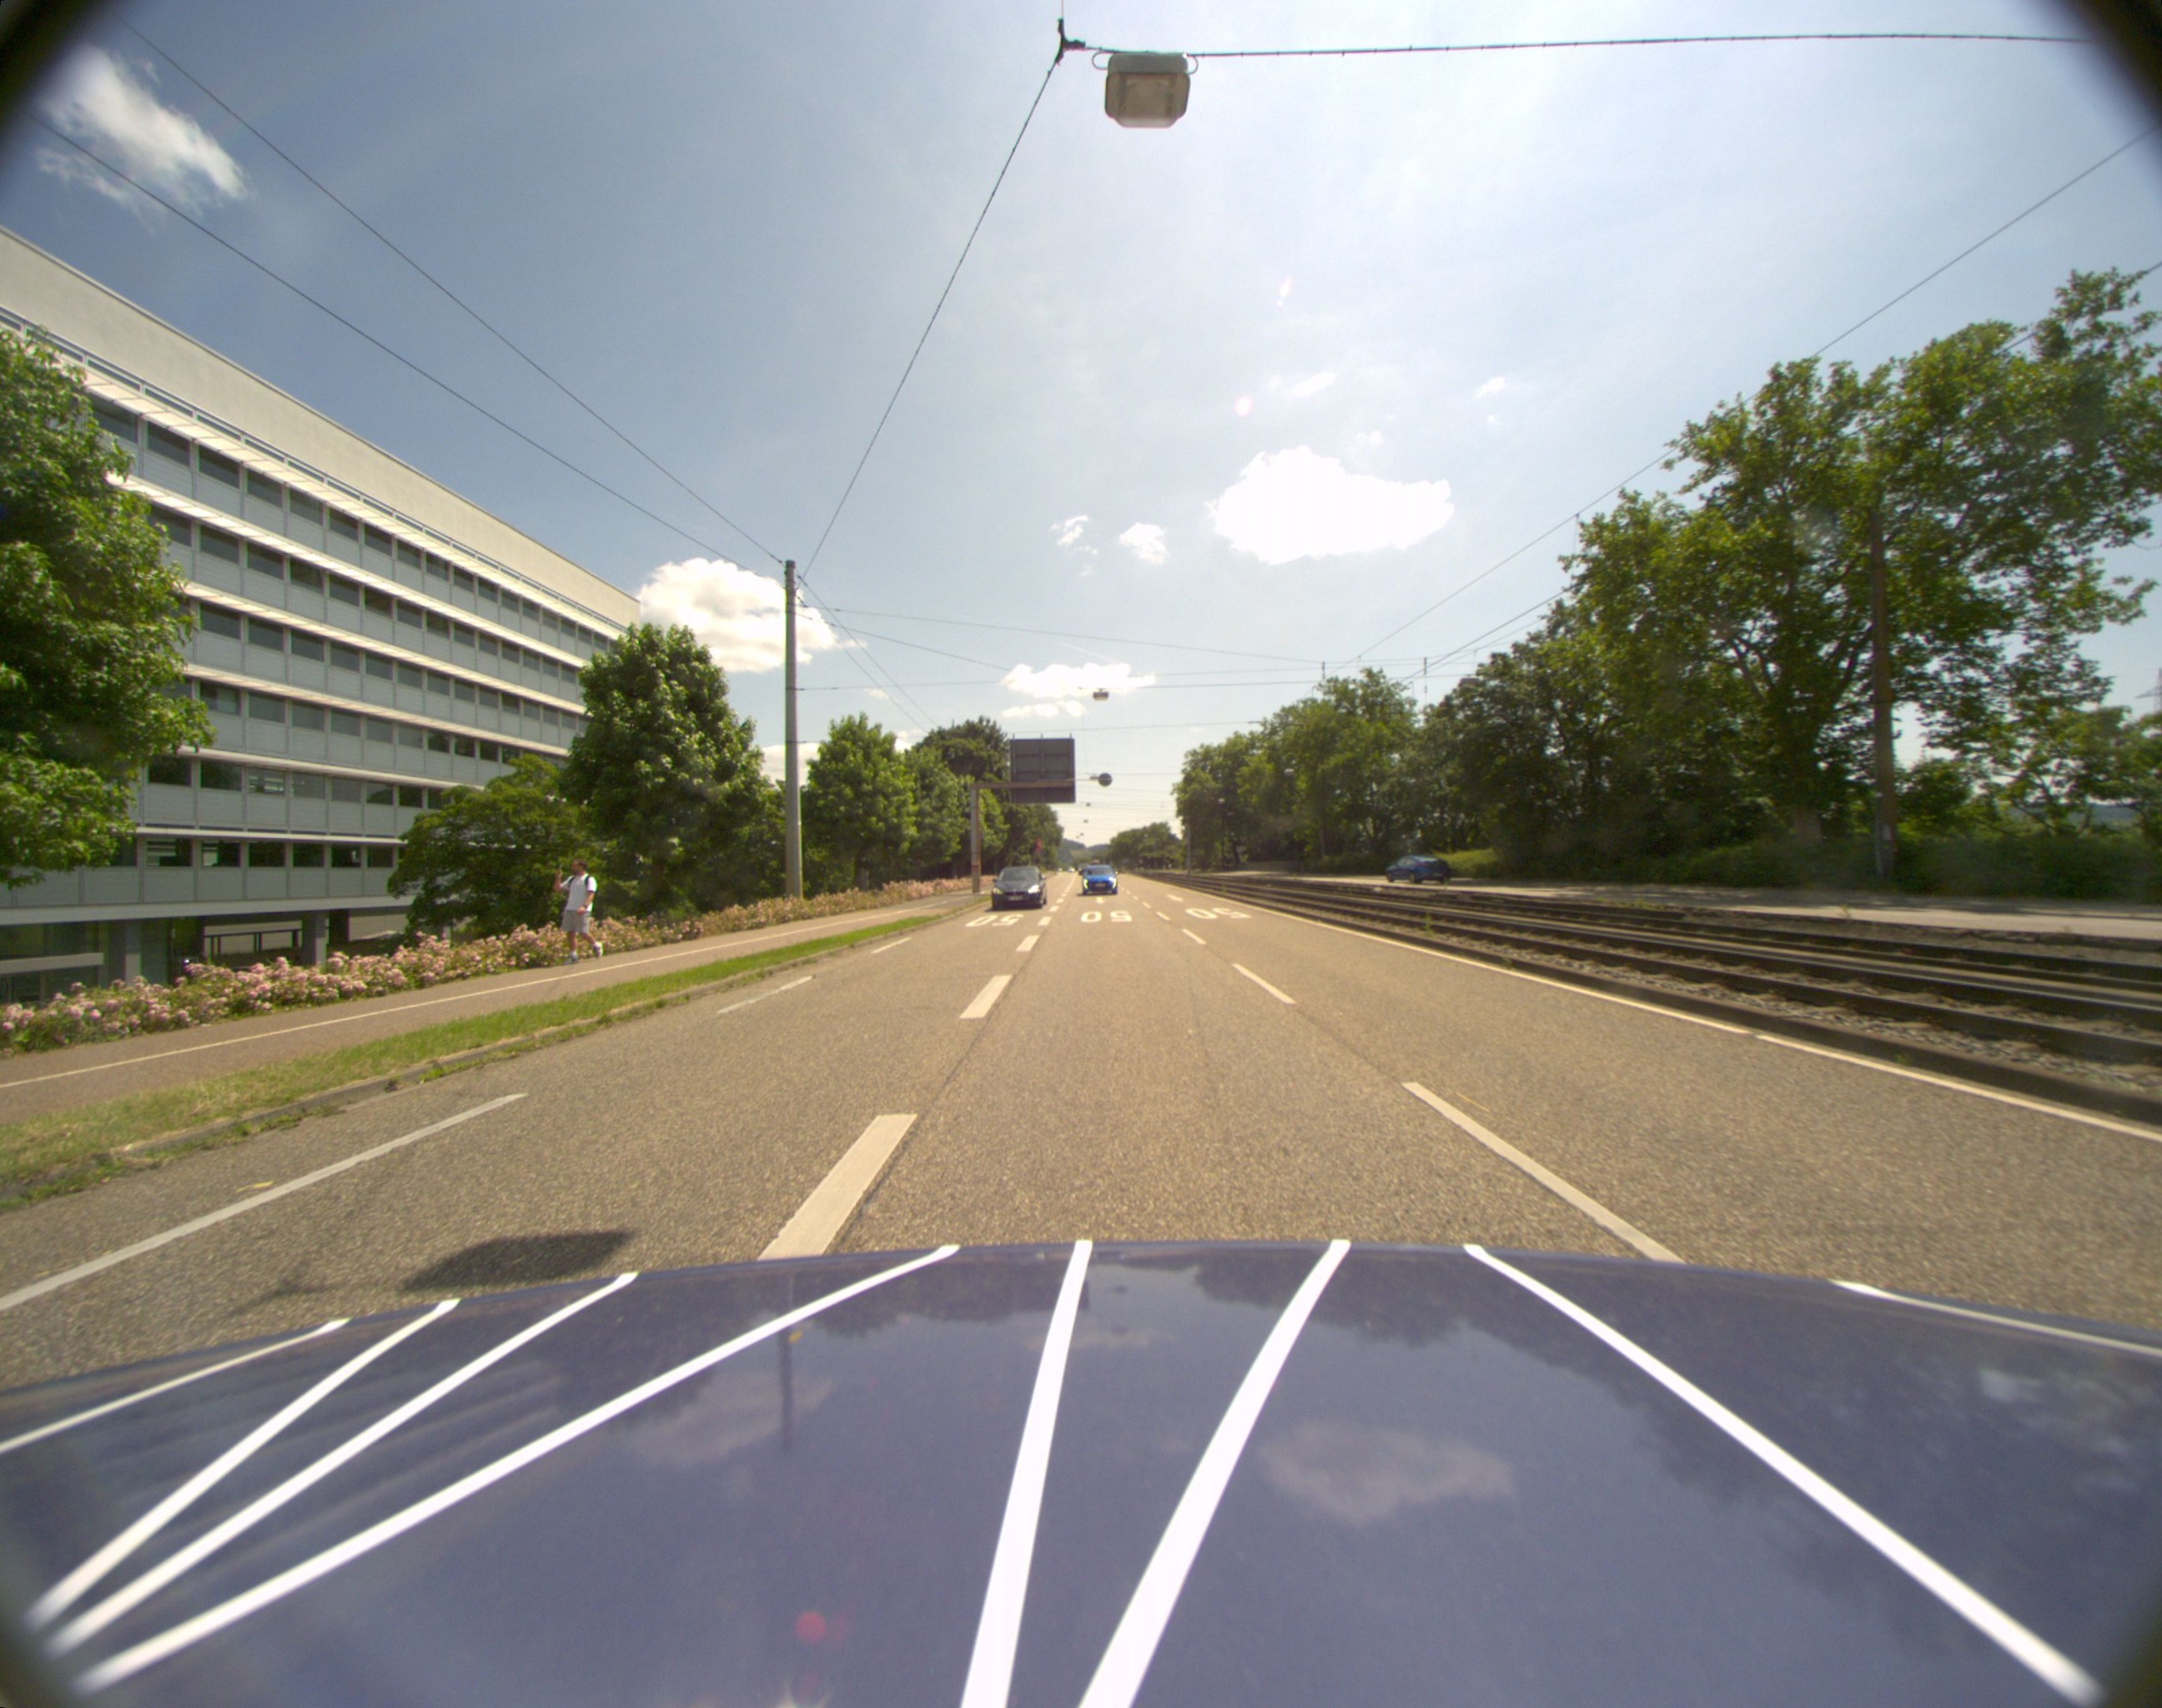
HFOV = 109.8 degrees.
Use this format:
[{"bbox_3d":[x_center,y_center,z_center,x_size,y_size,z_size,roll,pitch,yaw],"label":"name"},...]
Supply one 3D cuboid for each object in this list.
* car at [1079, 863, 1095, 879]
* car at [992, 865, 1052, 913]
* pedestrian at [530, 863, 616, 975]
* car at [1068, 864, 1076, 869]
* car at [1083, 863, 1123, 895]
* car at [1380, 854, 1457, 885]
[{"bbox_3d":[0.847,2.398,106.920,1.998,2.001,4.000,-4,-1,0],"label":"car"},{"bbox_3d":[-2.121,1.235,28.228,1.765,1.517,4.100,-3,0,1],"label":"car"},{"bbox_3d":[-8.844,1.100,13.261,0.758,1.838,0.931,-3,0,3],"label":"pedestrian"},{"bbox_3d":[-2.547,3.530,214.052,1.896,1.331,4.000,-3,0,1],"label":"car"},{"bbox_3d":[1.037,1.296,37.540,1.842,1.445,4.002,-1,-3,1],"label":"car"},{"bbox_3d":[17.406,0.760,39.422,1.803,1.495,4.735,0,0,-1],"label":"car"}]
